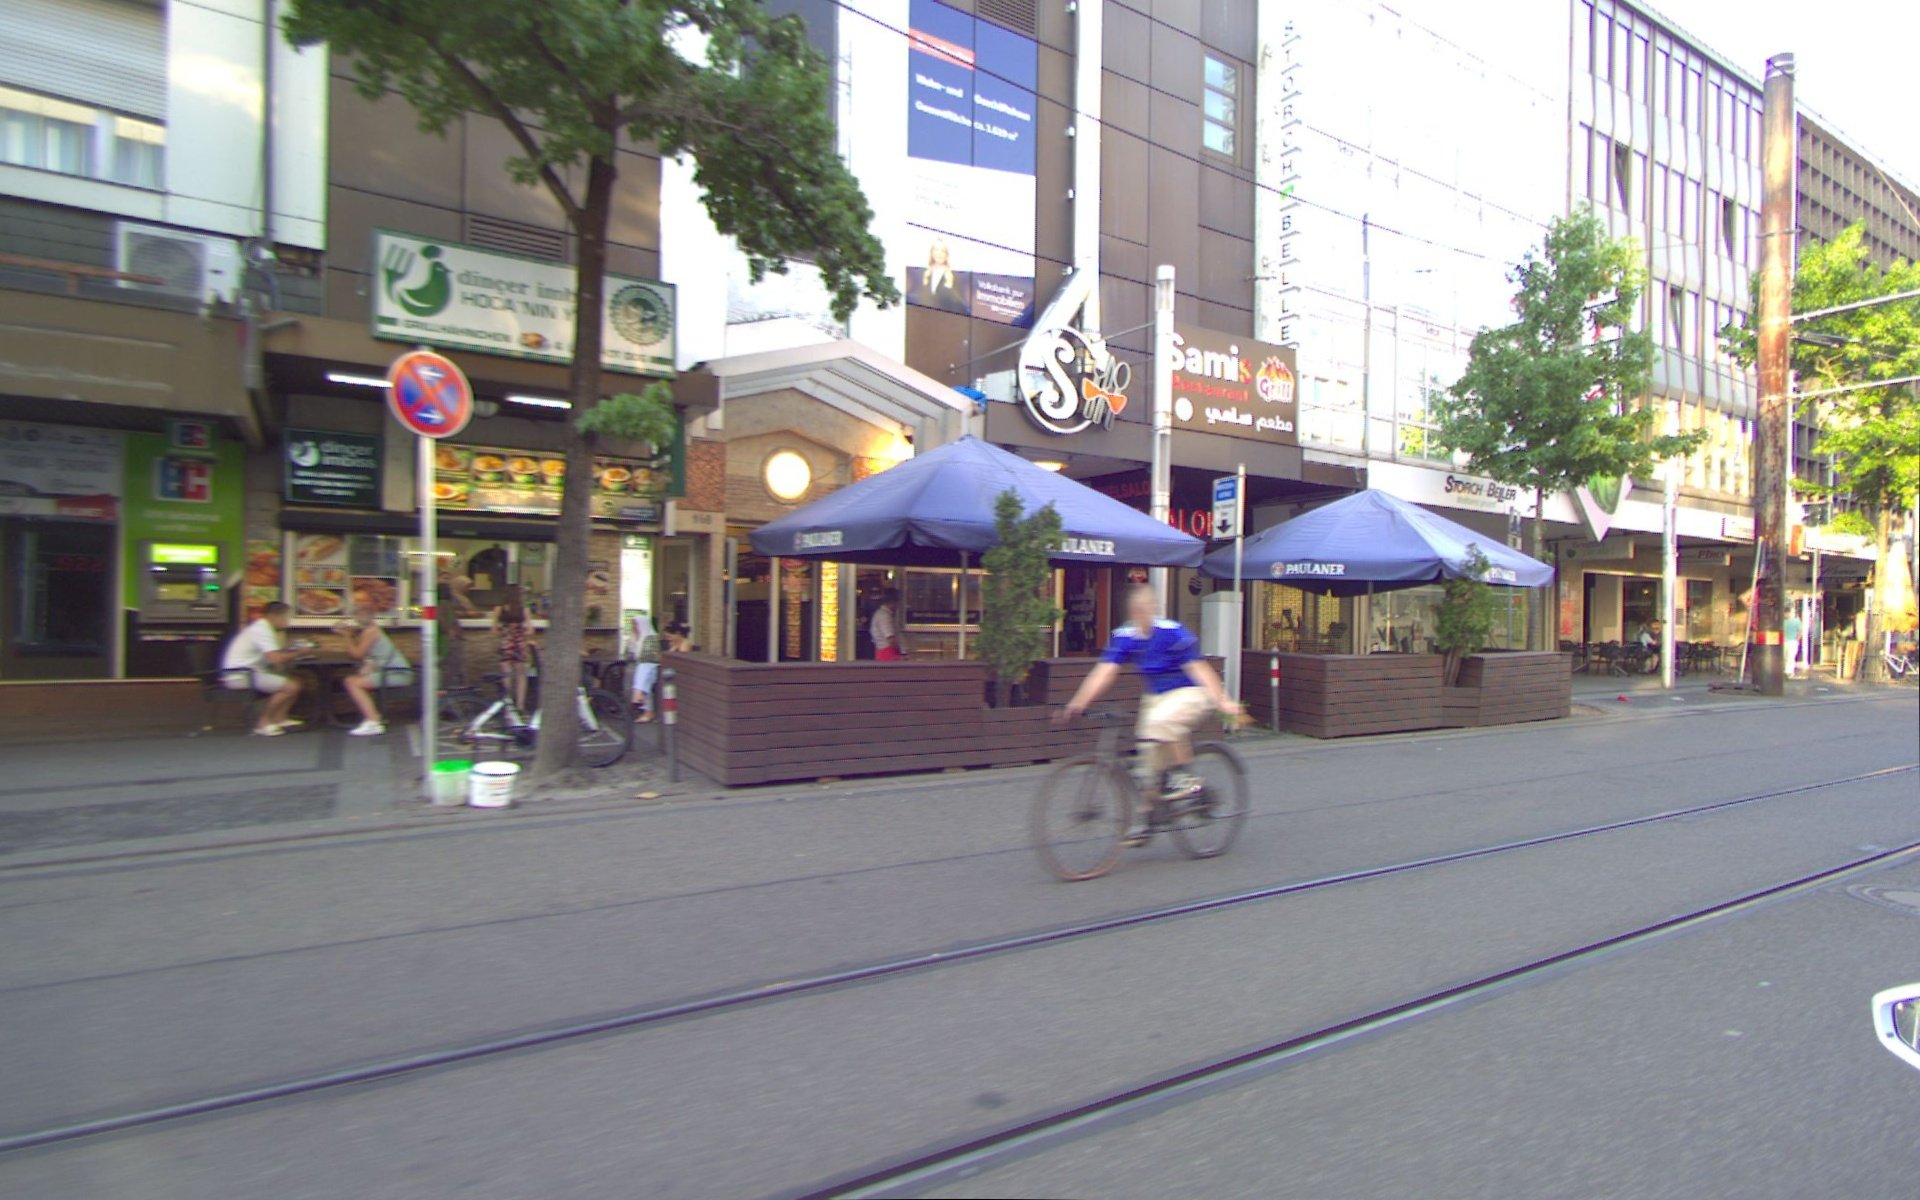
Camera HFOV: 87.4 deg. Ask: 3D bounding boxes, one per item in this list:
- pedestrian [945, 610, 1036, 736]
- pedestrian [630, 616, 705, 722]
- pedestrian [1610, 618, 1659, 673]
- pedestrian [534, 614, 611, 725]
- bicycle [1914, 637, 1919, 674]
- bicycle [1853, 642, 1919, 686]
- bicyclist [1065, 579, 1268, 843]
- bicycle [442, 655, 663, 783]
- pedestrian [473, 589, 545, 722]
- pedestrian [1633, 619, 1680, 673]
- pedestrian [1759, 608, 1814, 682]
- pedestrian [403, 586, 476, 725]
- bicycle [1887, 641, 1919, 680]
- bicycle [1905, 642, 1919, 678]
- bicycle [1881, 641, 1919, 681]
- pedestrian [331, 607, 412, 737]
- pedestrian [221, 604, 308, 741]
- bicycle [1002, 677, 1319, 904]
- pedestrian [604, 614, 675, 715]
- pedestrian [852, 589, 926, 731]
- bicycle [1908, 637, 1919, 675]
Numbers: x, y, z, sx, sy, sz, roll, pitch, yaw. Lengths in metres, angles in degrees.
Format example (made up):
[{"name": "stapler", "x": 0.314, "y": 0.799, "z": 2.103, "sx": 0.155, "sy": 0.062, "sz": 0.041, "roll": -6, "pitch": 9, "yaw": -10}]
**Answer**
[{"name": "pedestrian", "x": 0.366, "y": 0.856, "z": 12.077, "sx": 0.738, "sy": 1.420, "sz": 0.760, "roll": 2, "pitch": 2, "yaw": -32}, {"name": "pedestrian", "x": -3.461, "y": 0.798, "z": 11.869, "sx": 0.659, "sy": 1.172, "sz": 0.637, "roll": 2, "pitch": 2, "yaw": -34}, {"name": "pedestrian", "x": 17.141, "y": 1.157, "z": 25.524, "sx": 0.902, "sy": 1.343, "sz": 0.666, "roll": 2, "pitch": 2, "yaw": -33}, {"name": "pedestrian", "x": -4.378, "y": 0.768, "z": 11.333, "sx": 0.659, "sy": 1.172, "sz": 0.637, "roll": 2, "pitch": 2, "yaw": -34}, {"name": "bicycle", "x": 29.322, "y": 1.699, "z": 29.533, "sx": 0.485, "sy": 1.085, "sz": 1.759, "roll": 0, "pitch": 2, "yaw": -36}, {"name": "bicycle", "x": 23.853, "y": 1.629, "z": 25.511, "sx": 0.481, "sy": 0.978, "sz": 1.772, "roll": 2, "pitch": 1, "yaw": -14}, {"name": "bicyclist", "x": 1.225, "y": 0.603, "z": 6.009, "sx": 0.887, "sy": 1.433, "sz": 0.755, "roll": 1, "pitch": 1, "yaw": -31}, {"name": "bicycle", "x": -3.567, "y": 1.009, "z": 8.945, "sx": 0.472, "sy": 0.938, "sz": 1.819, "roll": 2, "pitch": 1, "yaw": 38}, {"name": "pedestrian", "x": -5.229, "y": 0.627, "z": 11.624, "sx": 0.636, "sy": 1.453, "sz": 0.657, "roll": 2, "pitch": 3, "yaw": -31}, {"name": "pedestrian", "x": 18.136, "y": 1.190, "z": 26.166, "sx": 0.902, "sy": 1.343, "sz": 0.666, "roll": 2, "pitch": 2, "yaw": -33}, {"name": "pedestrian", "x": 21.052, "y": 1.133, "z": 25.588, "sx": 0.978, "sy": 1.816, "sz": 0.681, "roll": 2, "pitch": 2, "yaw": -29}, {"name": "pedestrian", "x": -5.826, "y": 0.607, "z": 11.237, "sx": 0.636, "sy": 1.453, "sz": 0.657, "roll": 2, "pitch": 3, "yaw": -31}, {"name": "bicycle", "x": 26.447, "y": 1.680, "z": 27.305, "sx": 0.485, "sy": 1.003, "sz": 1.759, "roll": 0, "pitch": 2, "yaw": -36}, {"name": "bicycle", "x": 27.632, "y": 1.719, "z": 28.042, "sx": 0.485, "sy": 1.003, "sz": 1.759, "roll": 0, "pitch": 2, "yaw": -36}, {"name": "bicycle", "x": 26.009, "y": 1.665, "z": 27.020, "sx": 0.485, "sy": 1.003, "sz": 1.759, "roll": 0, "pitch": 2, "yaw": -36}, {"name": "pedestrian", "x": -6.065, "y": 0.723, "z": 10.339, "sx": 0.659, "sy": 1.244, "sz": 0.637, "roll": 2, "pitch": 3, "yaw": -33}, {"name": "pedestrian", "x": -6.861, "y": 0.698, "z": 9.936, "sx": 0.659, "sy": 1.244, "sz": 0.637, "roll": 2, "pitch": 3, "yaw": -33}, {"name": "bicycle", "x": 1.228, "y": 1.054, "z": 6.028, "sx": 1.844, "sy": 1.088, "sz": 0.726, "roll": 1, "pitch": 1, "yaw": -31}, {"name": "pedestrian", "x": -3.992, "y": 0.787, "z": 12.487, "sx": 0.659, "sy": 1.172, "sz": 0.637, "roll": 2, "pitch": 2, "yaw": -34}, {"name": "pedestrian", "x": -0.833, "y": 0.683, "z": 11.742, "sx": 0.559, "sy": 1.573, "sz": 0.652, "roll": 2, "pitch": 2, "yaw": -33}, {"name": "bicycle", "x": 28.848, "y": 1.683, "z": 29.212, "sx": 0.485, "sy": 1.085, "sz": 1.759, "roll": 0, "pitch": 2, "yaw": -36}]
